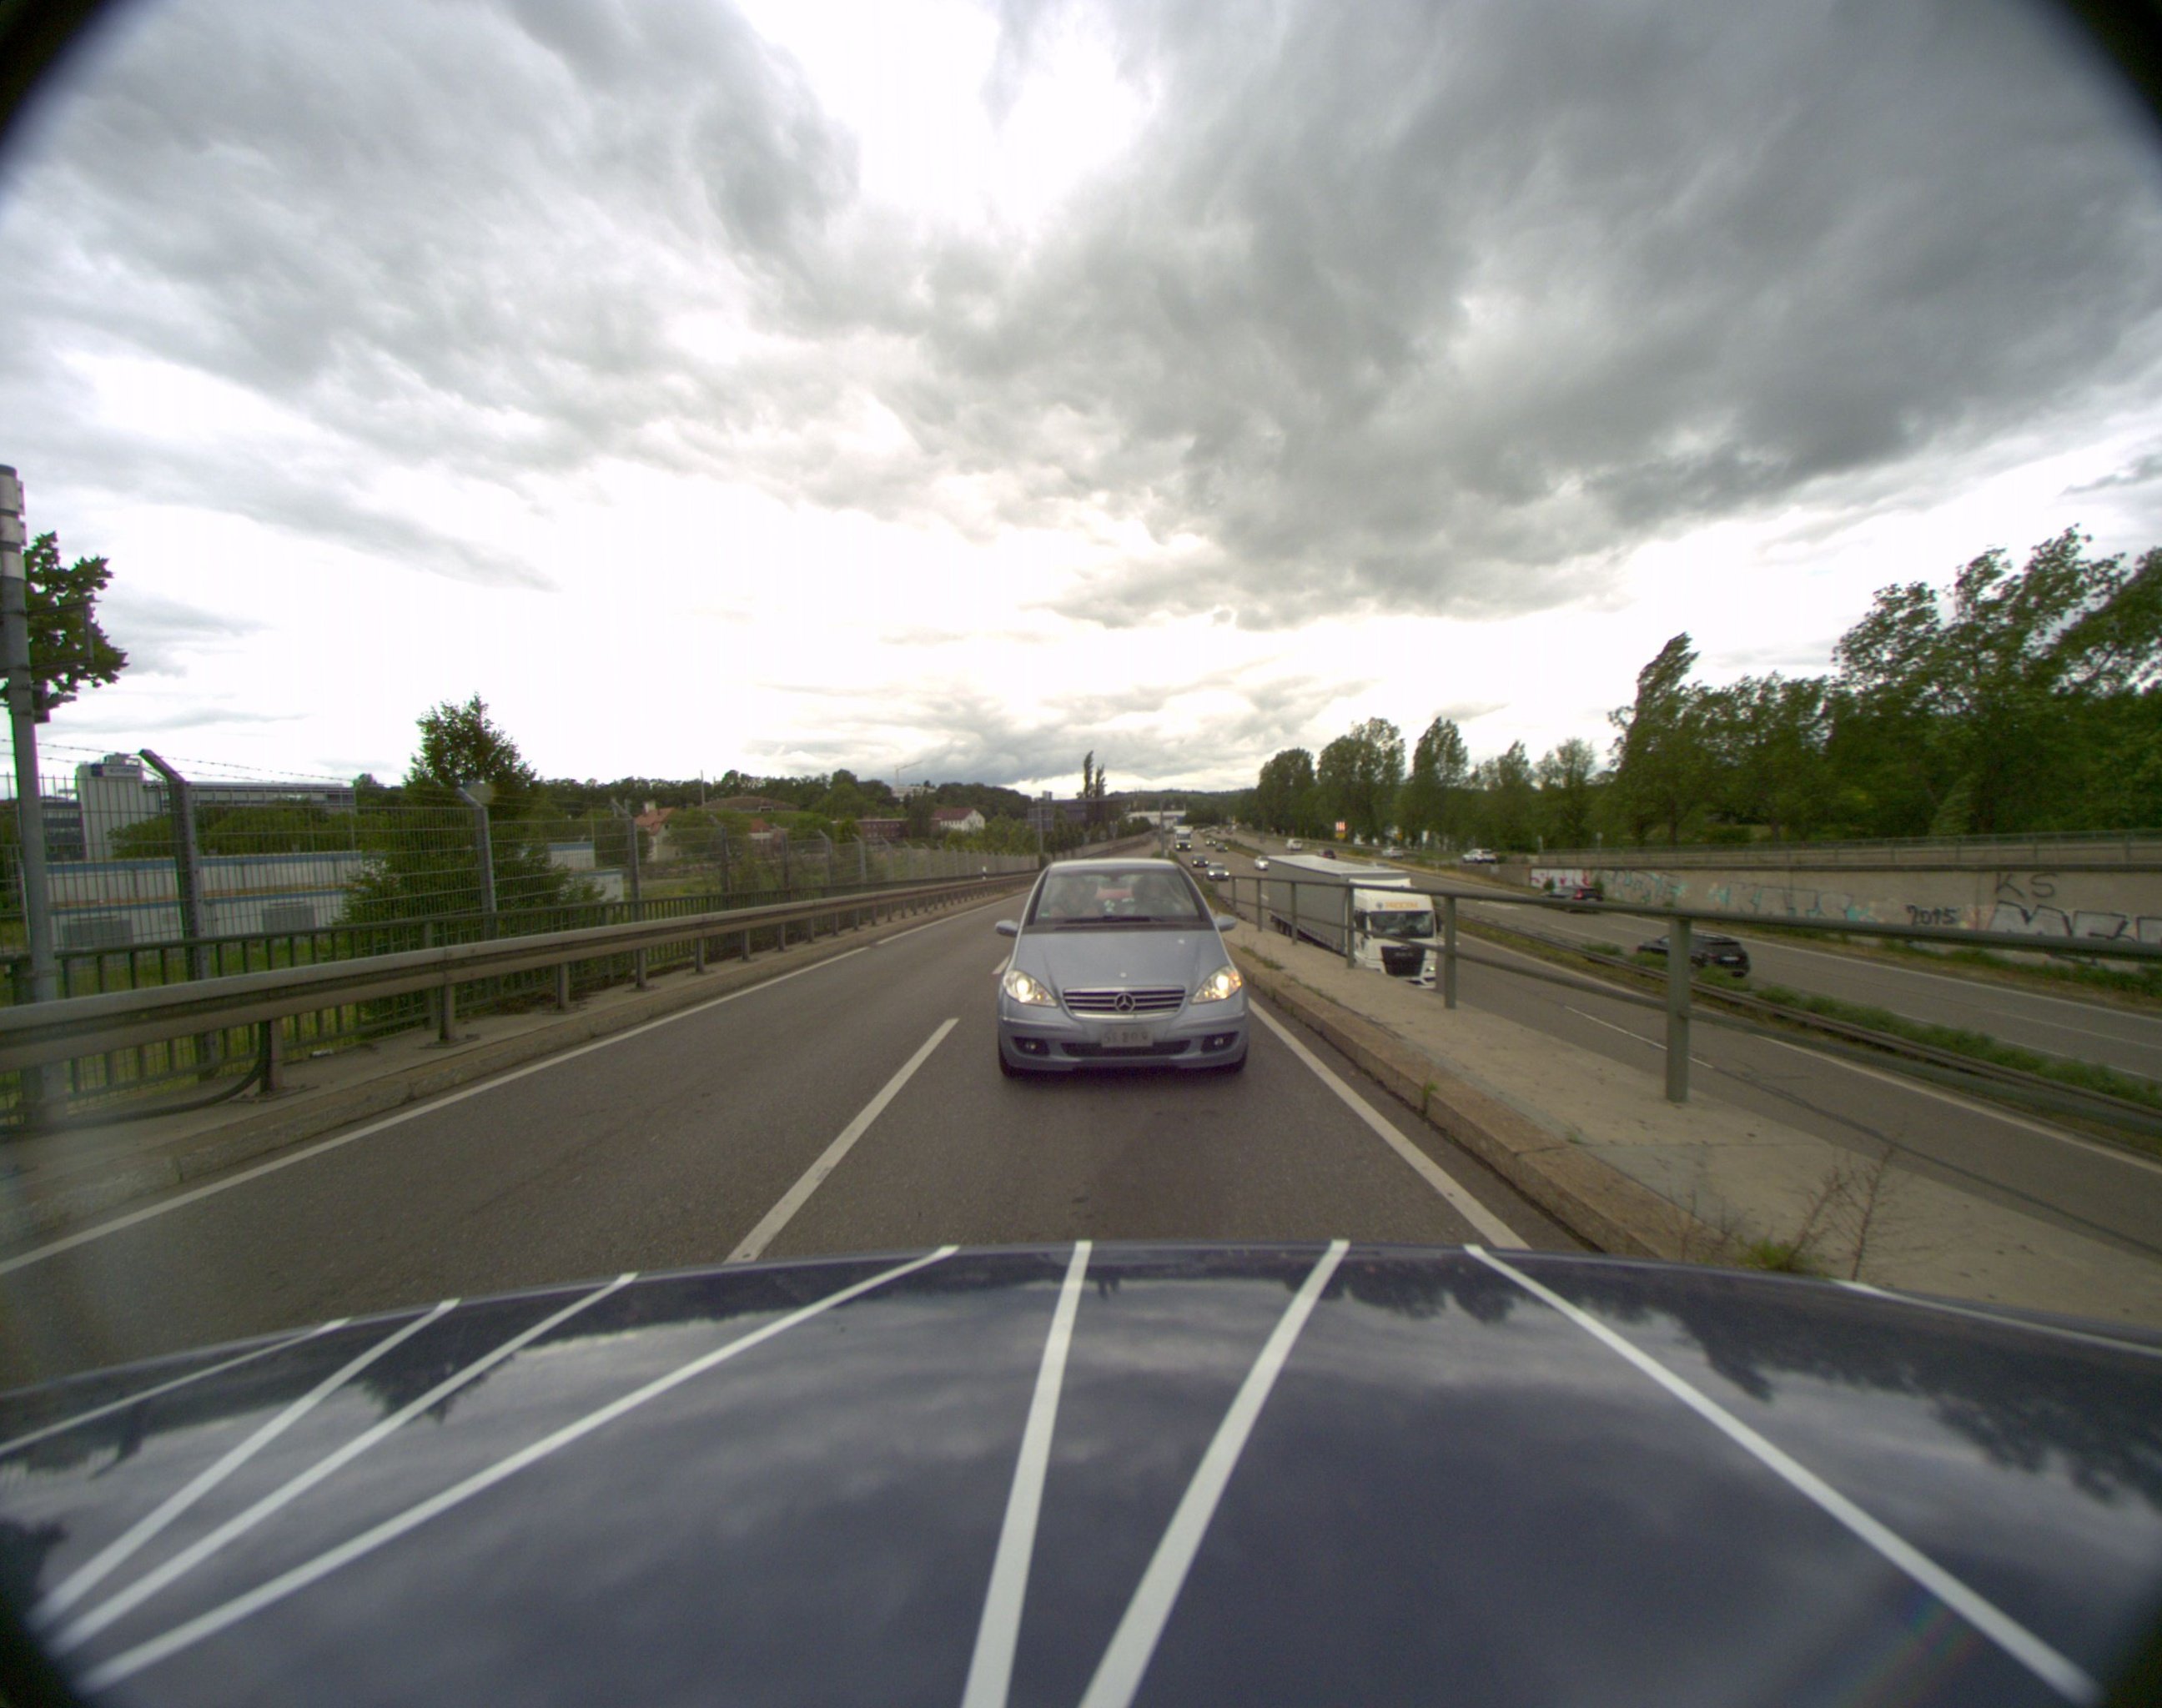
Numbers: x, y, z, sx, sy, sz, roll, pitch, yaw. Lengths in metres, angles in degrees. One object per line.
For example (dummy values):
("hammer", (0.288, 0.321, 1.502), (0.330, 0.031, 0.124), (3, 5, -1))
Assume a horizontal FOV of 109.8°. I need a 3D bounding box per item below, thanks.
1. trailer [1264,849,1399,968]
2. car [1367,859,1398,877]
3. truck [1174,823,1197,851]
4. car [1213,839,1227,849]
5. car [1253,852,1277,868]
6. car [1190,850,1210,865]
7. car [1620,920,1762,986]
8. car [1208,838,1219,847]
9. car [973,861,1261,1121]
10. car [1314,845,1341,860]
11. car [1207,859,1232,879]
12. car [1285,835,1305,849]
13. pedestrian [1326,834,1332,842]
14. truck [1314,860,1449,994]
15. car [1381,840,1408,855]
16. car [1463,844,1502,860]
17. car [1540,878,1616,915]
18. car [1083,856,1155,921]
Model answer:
("trailer", (11.652, 2.154, 37.166), (2.758, 4.228, 13.146), (0, 3, 2))
("car", (29.996, 1.382, 75.679), (1.732, 1.520, 4.086), (0, 3, 4))
("truck", (18.689, -3.102, 136.396), (3.179, 4.501, 11.121), (-1, 3, 4))
("car", (23.676, -1.757, 129.093), (1.858, 1.598, 4.165), (2, 3, 4))
("car", (20.851, 0.664, 86.173), (1.858, 1.598, 4.164), (2, 3, 2))
("car", (14.476, 0.377, 92.568), (1.858, 1.598, 4.164), (-1, 3, 2))
("car", (23.814, 3.797, 29.929), (1.998, 1.831, 4.421), (0, 3, 1))
("car", (27.273, -2.371, 156.586), (1.857, 1.598, 4.166), (-1, 3, 7))
("car", (0.312, 0.896, 6.810), (1.780, 1.578, 4.001), (-1, 0, 3))
("car", (31.502, -0.227, 97.110), (1.920, 1.729, 4.550), (-1, 3, 0))
("car", (13.434, 1.422, 73.905), (1.858, 1.598, 4.164), (-1, 3, 2))
("car", (37.008, -2.106, 131.566), (1.998, 2.056, 5.175), (-2, 3, 2))
("pedestrian", (54.044, -3.537, 165.576), (0.831, 1.696, 1.077), (-2, 4, 3))
("truck", (11.329, 2.559, 29.460), (2.758, 4.228, 6.695), (0, 3, 2))
("car", (43.179, -0.887, 104.661), (1.998, 1.859, 4.213), (-1, 0, 1))
("car", (41.600, -0.219, 78.825), (1.837, 1.567, 4.347), (-1, 0, 3))
("car", (31.370, 2.619, 48.143), (1.936, 1.831, 4.408), (-1, 3, 1))
("car", (1.109, 0.873, 21.153), (1.780, 1.578, 4.001), (-1, 0, 4))
